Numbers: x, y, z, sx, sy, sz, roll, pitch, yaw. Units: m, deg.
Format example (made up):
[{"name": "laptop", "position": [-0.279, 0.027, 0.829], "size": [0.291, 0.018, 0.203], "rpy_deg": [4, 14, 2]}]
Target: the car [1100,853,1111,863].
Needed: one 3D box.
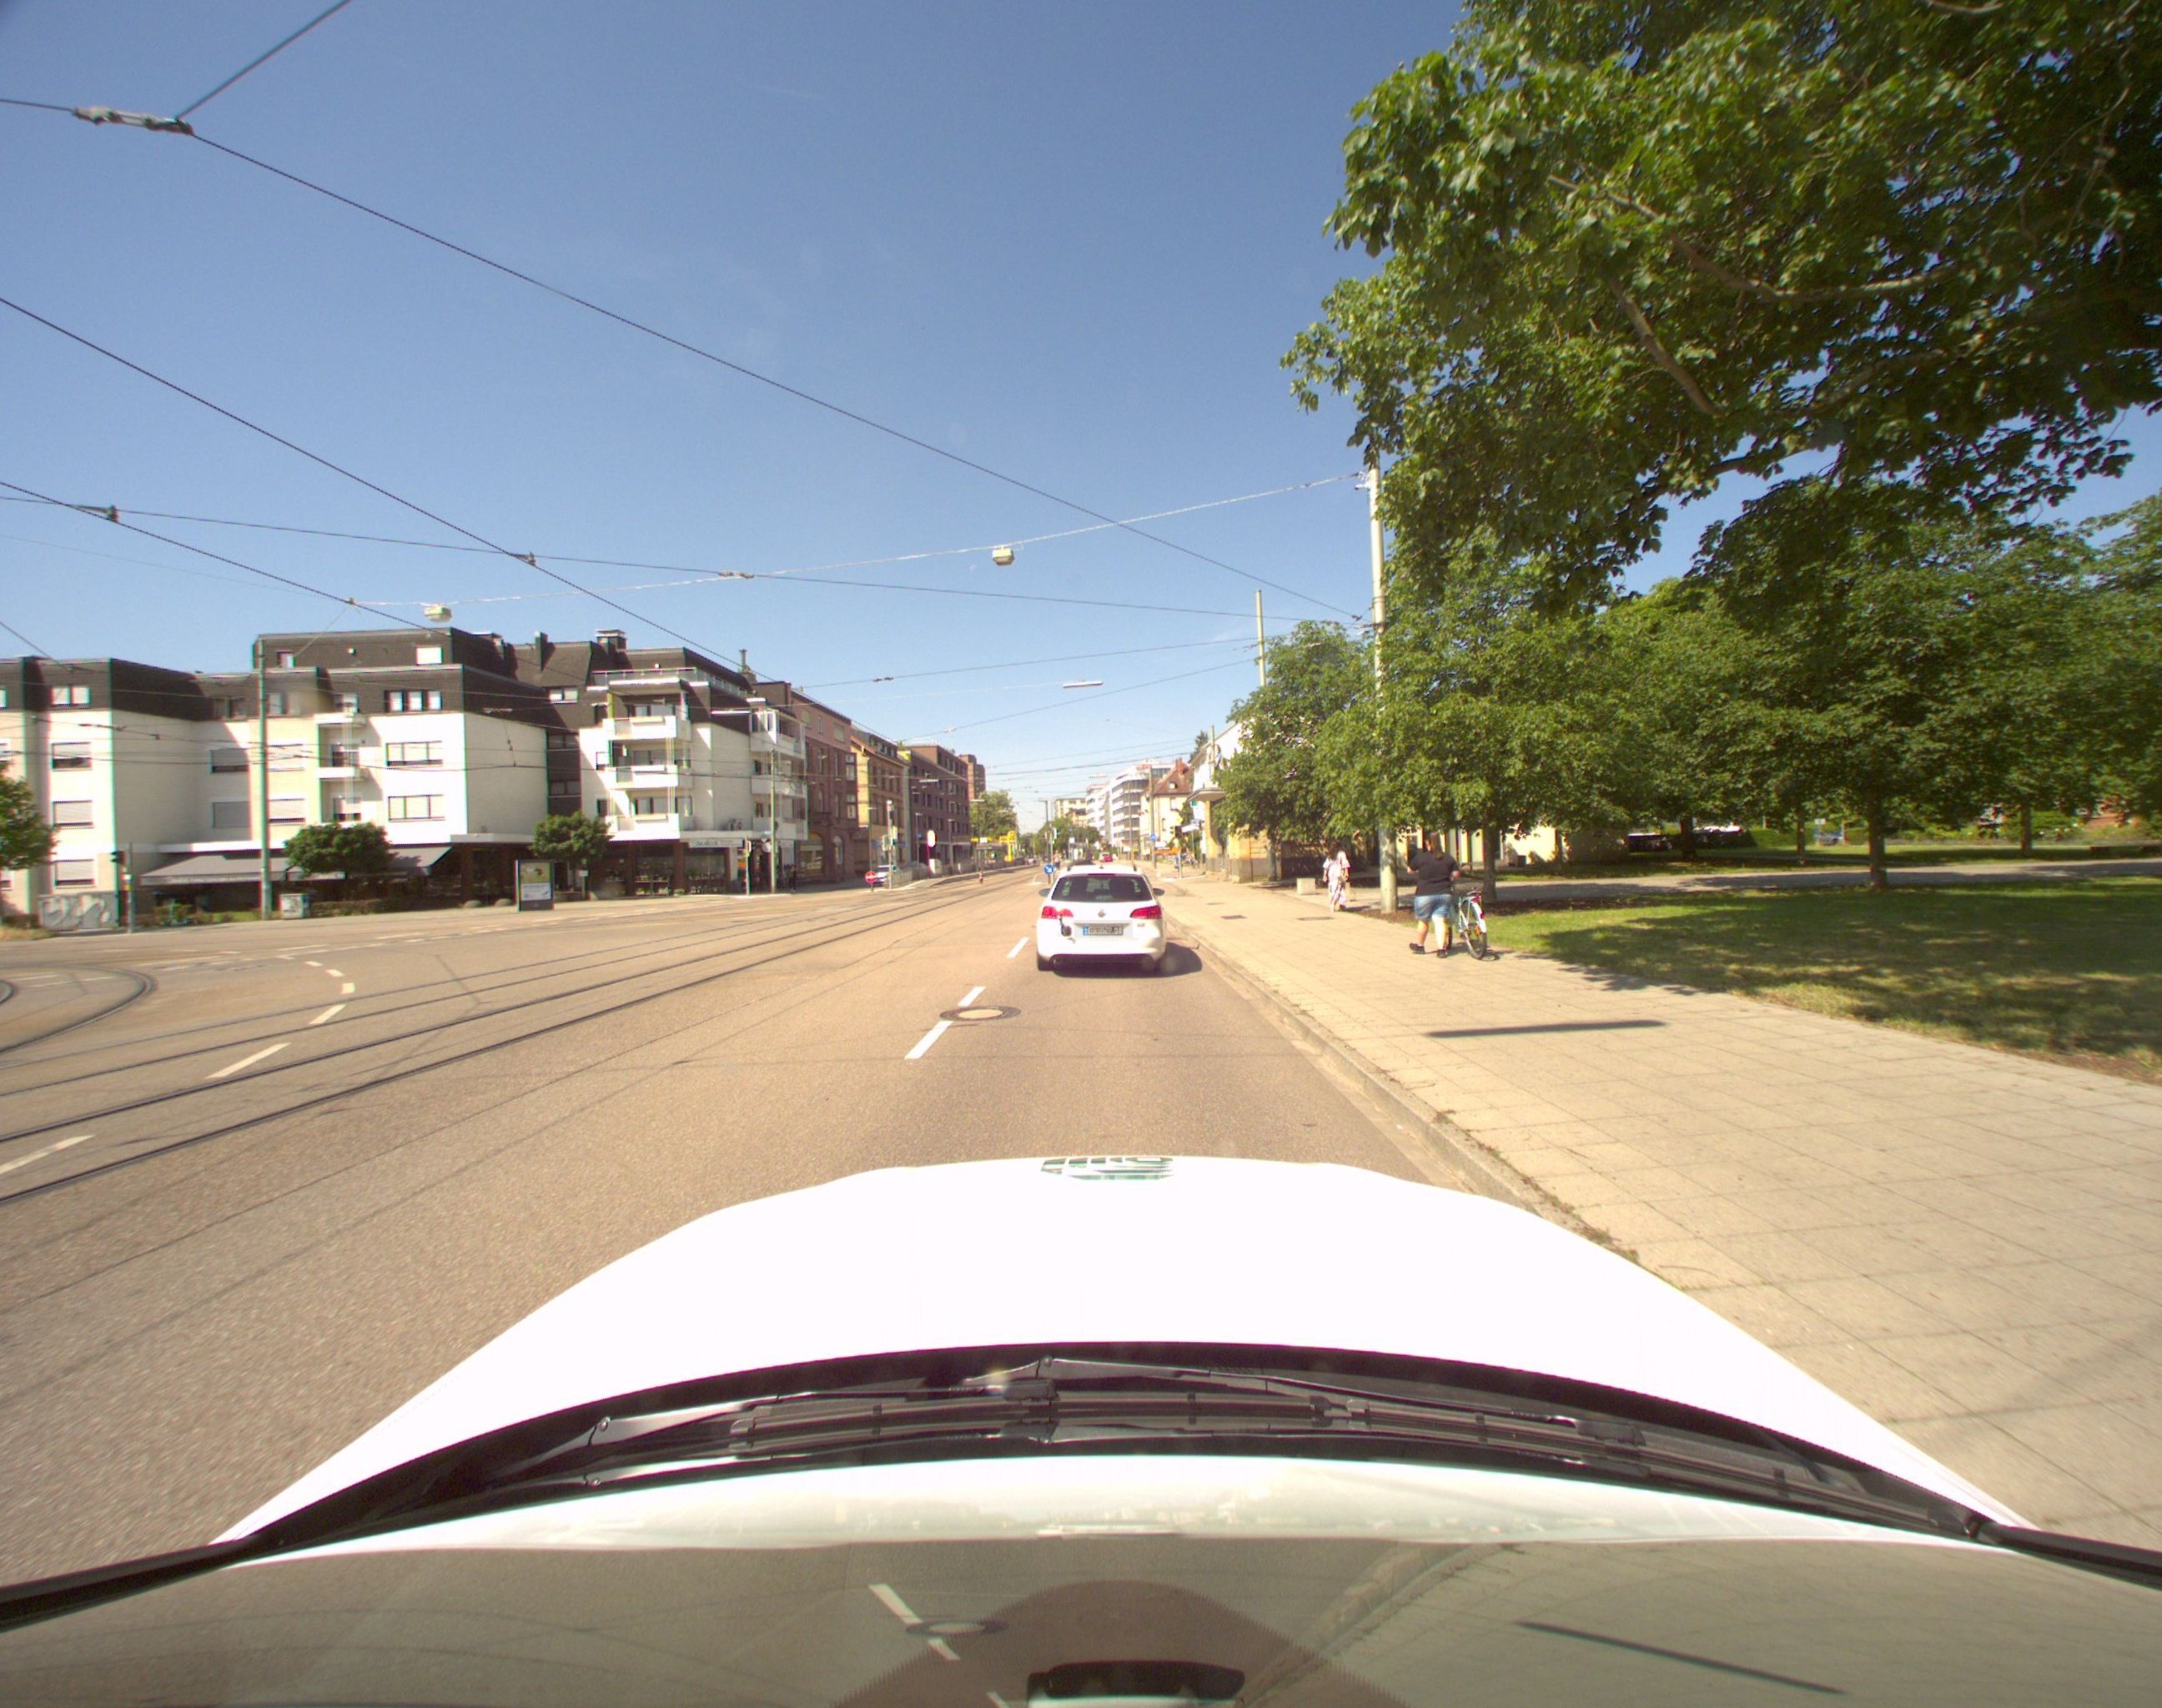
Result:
[{"name": "car", "position": [5.207, 0.766, 174.613], "size": [1.989, 2.013, 3.996], "rpy_deg": [-2, 0, -3]}]

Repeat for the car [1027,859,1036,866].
[{"name": "car", "position": [-10.874, 1.906, 179.259], "size": [1.661, 1.466, 3.774], "rpy_deg": [-2, 0, 2]}]

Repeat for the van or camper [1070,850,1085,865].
[{"name": "van or camper", "position": [-0.758, 0.787, 177.360], "size": [2.933, 3.180, 6.614], "rpy_deg": [-2, 0, 1]}]

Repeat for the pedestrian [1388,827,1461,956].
[{"name": "pedestrian", "position": [4.371, 0.465, 10.398], "size": [0.538, 1.549, 0.663], "rpy_deg": [-5, 0, 1]}]

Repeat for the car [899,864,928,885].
[{"name": "car", "position": [-13.382, 1.619, 65.384], "size": [1.568, 1.459, 3.812], "rpy_deg": [-3, 0, -1]}]

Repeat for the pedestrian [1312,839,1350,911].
[{"name": "pedestrian", "position": [5.930, 0.492, 19.328], "size": [0.644, 1.682, 0.712], "rpy_deg": [-3, 0, 31]}]

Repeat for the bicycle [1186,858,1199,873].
[{"name": "bicycle", "position": [9.230, 0.912, 67.219], "size": [0.720, 1.139, 2.203], "rpy_deg": [-2, 0, 14]}]

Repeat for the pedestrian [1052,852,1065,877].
[{"name": "pedestrian", "position": [-1.619, 0.772, 59.499], "size": [0.823, 1.809, 0.834], "rpy_deg": [-2, 0, 2]}]

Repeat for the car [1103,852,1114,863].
[{"name": "car", "position": [5.736, 0.718, 169.180], "size": [1.989, 2.013, 3.996], "rpy_deg": [-2, 0, -3]}]

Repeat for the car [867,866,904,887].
[{"name": "car", "position": [-13.797, 1.561, 57.634], "size": [1.620, 1.431, 3.962], "rpy_deg": [-1, 0, 0]}]

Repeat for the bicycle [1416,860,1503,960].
[{"name": "bicycle", "position": [4.702, 0.653, 10.234], "size": [0.532, 1.111, 1.812], "rpy_deg": [-3, -1, 12]}]

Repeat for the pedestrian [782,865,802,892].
[{"name": "pedestrian", "position": [-18.521, 1.572, 52.168], "size": [0.871, 1.647, 0.683], "rpy_deg": [-3, -1, 15]}]

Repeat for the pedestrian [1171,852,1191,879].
[{"name": "pedestrian", "position": [5.924, 0.686, 48.359], "size": [0.859, 1.510, 0.776], "rpy_deg": [-2, 0, -20]}]

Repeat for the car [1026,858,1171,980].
[{"name": "car", "position": [0.301, 0.819, 12.049], "size": [1.746, 1.418, 3.855], "rpy_deg": [-2, 0, 2]}]
